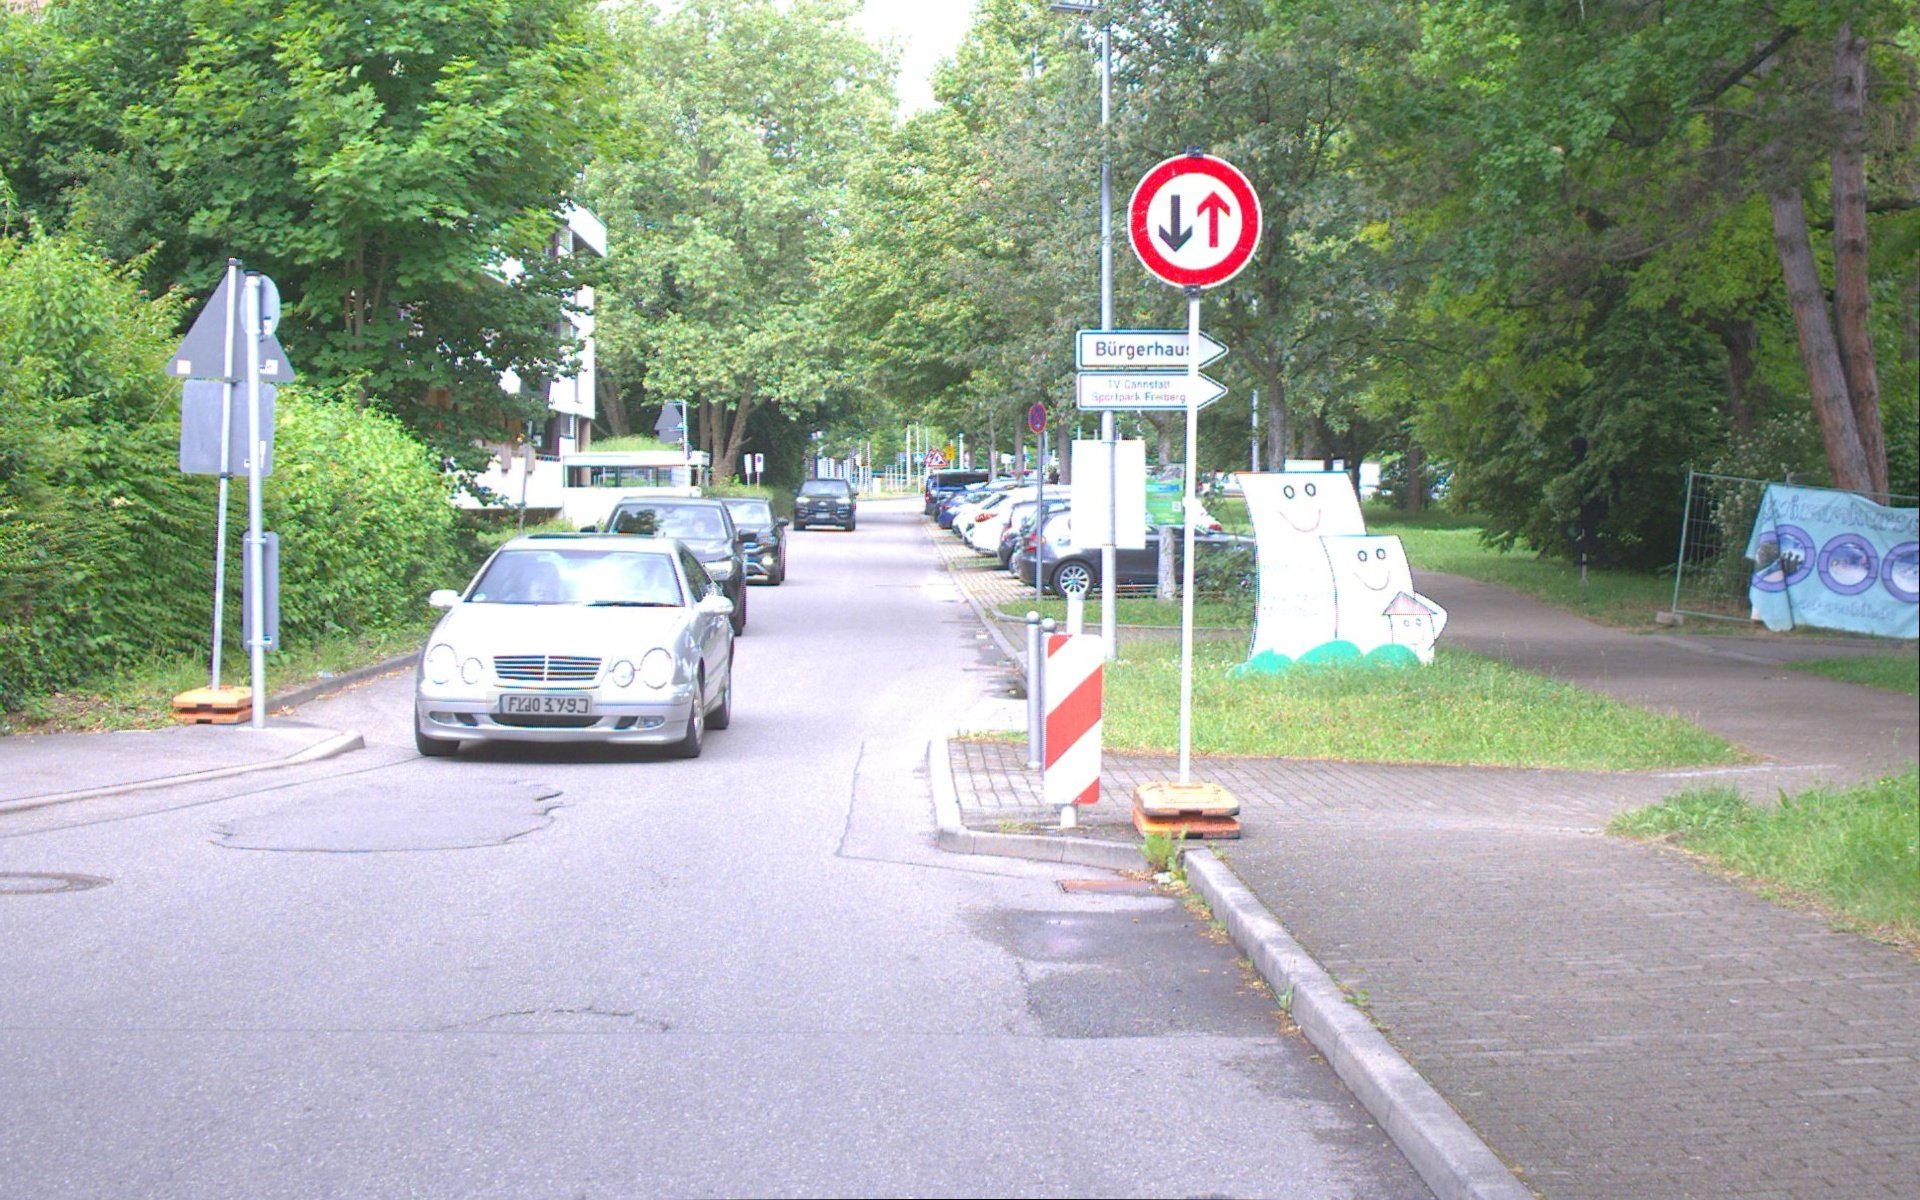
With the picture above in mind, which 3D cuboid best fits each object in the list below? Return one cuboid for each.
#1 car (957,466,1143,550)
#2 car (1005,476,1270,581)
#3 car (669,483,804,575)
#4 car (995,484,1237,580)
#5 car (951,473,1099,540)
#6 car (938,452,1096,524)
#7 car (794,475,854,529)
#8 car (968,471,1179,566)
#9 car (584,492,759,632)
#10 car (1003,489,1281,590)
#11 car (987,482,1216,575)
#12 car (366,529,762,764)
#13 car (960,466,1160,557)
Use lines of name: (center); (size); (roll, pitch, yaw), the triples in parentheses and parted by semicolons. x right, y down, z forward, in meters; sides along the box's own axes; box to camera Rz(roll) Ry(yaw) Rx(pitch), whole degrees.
car: (2.060, -2.148, 79.775); (4.062, 1.681, 1.823); (-4, 2, -4)
car: (2.800, -1.132, 54.874); (4.062, 1.563, 1.822); (-1, 0, -2)
car: (-3.983, -1.302, 61.893); (1.803, 1.586, 4.295); (1, 2, 5)
car: (2.694, -1.201, 60.101); (4.062, 1.563, 1.823); (-1, 2, -2)
car: (1.866, -2.727, 99.667); (4.062, 1.681, 1.823); (-4, 2, -4)
car: (1.537, -3.053, 93.677); (4.062, 1.681, 1.823); (-4, 2, -4)
car: (-4.545, -3.291, 115.312); (1.968, 1.741, 4.339); (0, 2, -2)
car: (2.298, -1.672, 70.359); (4.062, 1.681, 1.823); (-4, 2, -4)
car: (-3.428, -0.500, 41.489); (1.803, 1.586, 4.296); (0, 2, -1)
car: (2.747, -0.914, 52.593); (4.062, 1.429, 2.000); (-1, 0, -2)
car: (2.651, -1.368, 64.904); (4.062, 1.483, 1.823); (-4, 2, -4)
car: (-2.431, 0.225, 22.129); (1.781, 1.302, 4.296); (1, 2, 4)
car: (2.142, -1.915, 74.216); (4.062, 1.681, 1.823); (-4, 2, -4)
